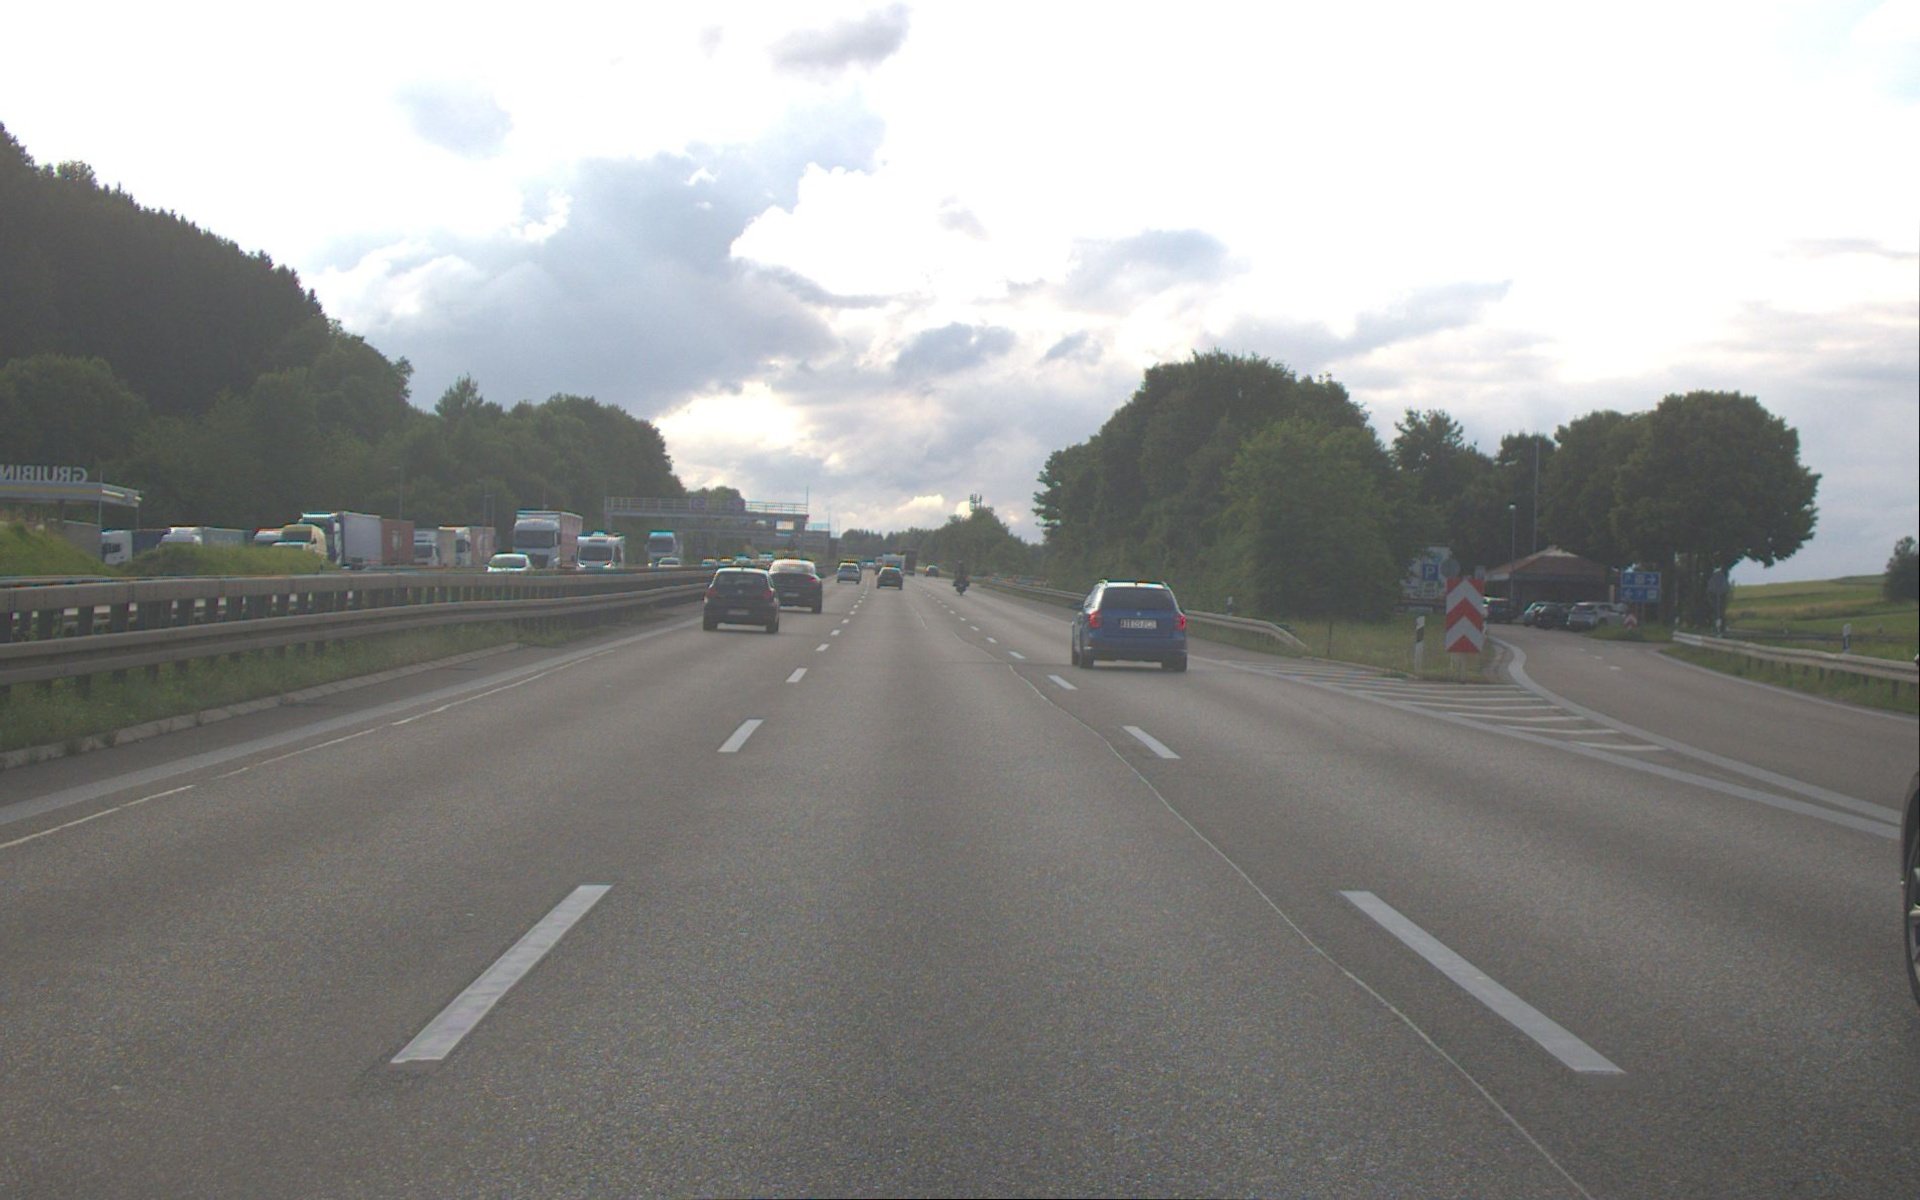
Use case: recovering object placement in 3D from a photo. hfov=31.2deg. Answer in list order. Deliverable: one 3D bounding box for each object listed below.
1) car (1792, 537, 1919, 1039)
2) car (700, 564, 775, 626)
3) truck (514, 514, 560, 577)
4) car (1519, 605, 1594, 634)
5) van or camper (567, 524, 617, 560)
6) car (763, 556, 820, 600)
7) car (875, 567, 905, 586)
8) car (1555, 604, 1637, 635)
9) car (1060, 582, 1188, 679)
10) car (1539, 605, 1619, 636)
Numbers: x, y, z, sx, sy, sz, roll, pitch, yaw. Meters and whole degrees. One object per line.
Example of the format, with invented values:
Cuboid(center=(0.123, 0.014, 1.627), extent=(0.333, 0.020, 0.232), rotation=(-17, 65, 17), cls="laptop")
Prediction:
Cuboid(center=(4.066, 0.640, 10.648), extent=(1.786, 1.647, 4.482), rotation=(1, 1, -1), cls="car")
Cuboid(center=(-5.148, -0.140, 79.263), extent=(1.538, 1.343, 3.678), rotation=(-2, 1, -6), cls="car")
Cuboid(center=(-24.316, -3.101, 197.750), extent=(1.993, 3.402, 6.739), rotation=(1, -1, -2), cls="truck")
Cuboid(center=(34.177, 1.116, 196.959), extent=(4.297, 1.550, 1.989), rotation=(2, -1, -41), cls="car")
Cuboid(center=(-20.042, -3.151, 187.381), extent=(2.078, 1.923, 4.344), rotation=(0, 0, 3), cls="van or camper")
Cuboid(center=(-5.572, -0.745, 114.029), extent=(1.565, 1.376, 4.000), rotation=(-2, 1, 2), cls="car")
Cuboid(center=(-4.817, -1.643, 237.004), extent=(1.750, 1.218, 4.001), rotation=(-2, 1, -5), cls="car")
Cuboid(center=(33.316, 1.042, 180.125), extent=(4.297, 1.550, 1.989), rotation=(2, -1, -41), cls="car")
Cuboid(center=(2.671, 0.478, 56.752), extent=(1.766, 1.428, 4.001), rotation=(0, 2, -2), cls="car")
Cuboid(center=(33.379, 1.110, 185.429), extent=(4.297, 1.550, 1.989), rotation=(2, -1, -41), cls="car")
